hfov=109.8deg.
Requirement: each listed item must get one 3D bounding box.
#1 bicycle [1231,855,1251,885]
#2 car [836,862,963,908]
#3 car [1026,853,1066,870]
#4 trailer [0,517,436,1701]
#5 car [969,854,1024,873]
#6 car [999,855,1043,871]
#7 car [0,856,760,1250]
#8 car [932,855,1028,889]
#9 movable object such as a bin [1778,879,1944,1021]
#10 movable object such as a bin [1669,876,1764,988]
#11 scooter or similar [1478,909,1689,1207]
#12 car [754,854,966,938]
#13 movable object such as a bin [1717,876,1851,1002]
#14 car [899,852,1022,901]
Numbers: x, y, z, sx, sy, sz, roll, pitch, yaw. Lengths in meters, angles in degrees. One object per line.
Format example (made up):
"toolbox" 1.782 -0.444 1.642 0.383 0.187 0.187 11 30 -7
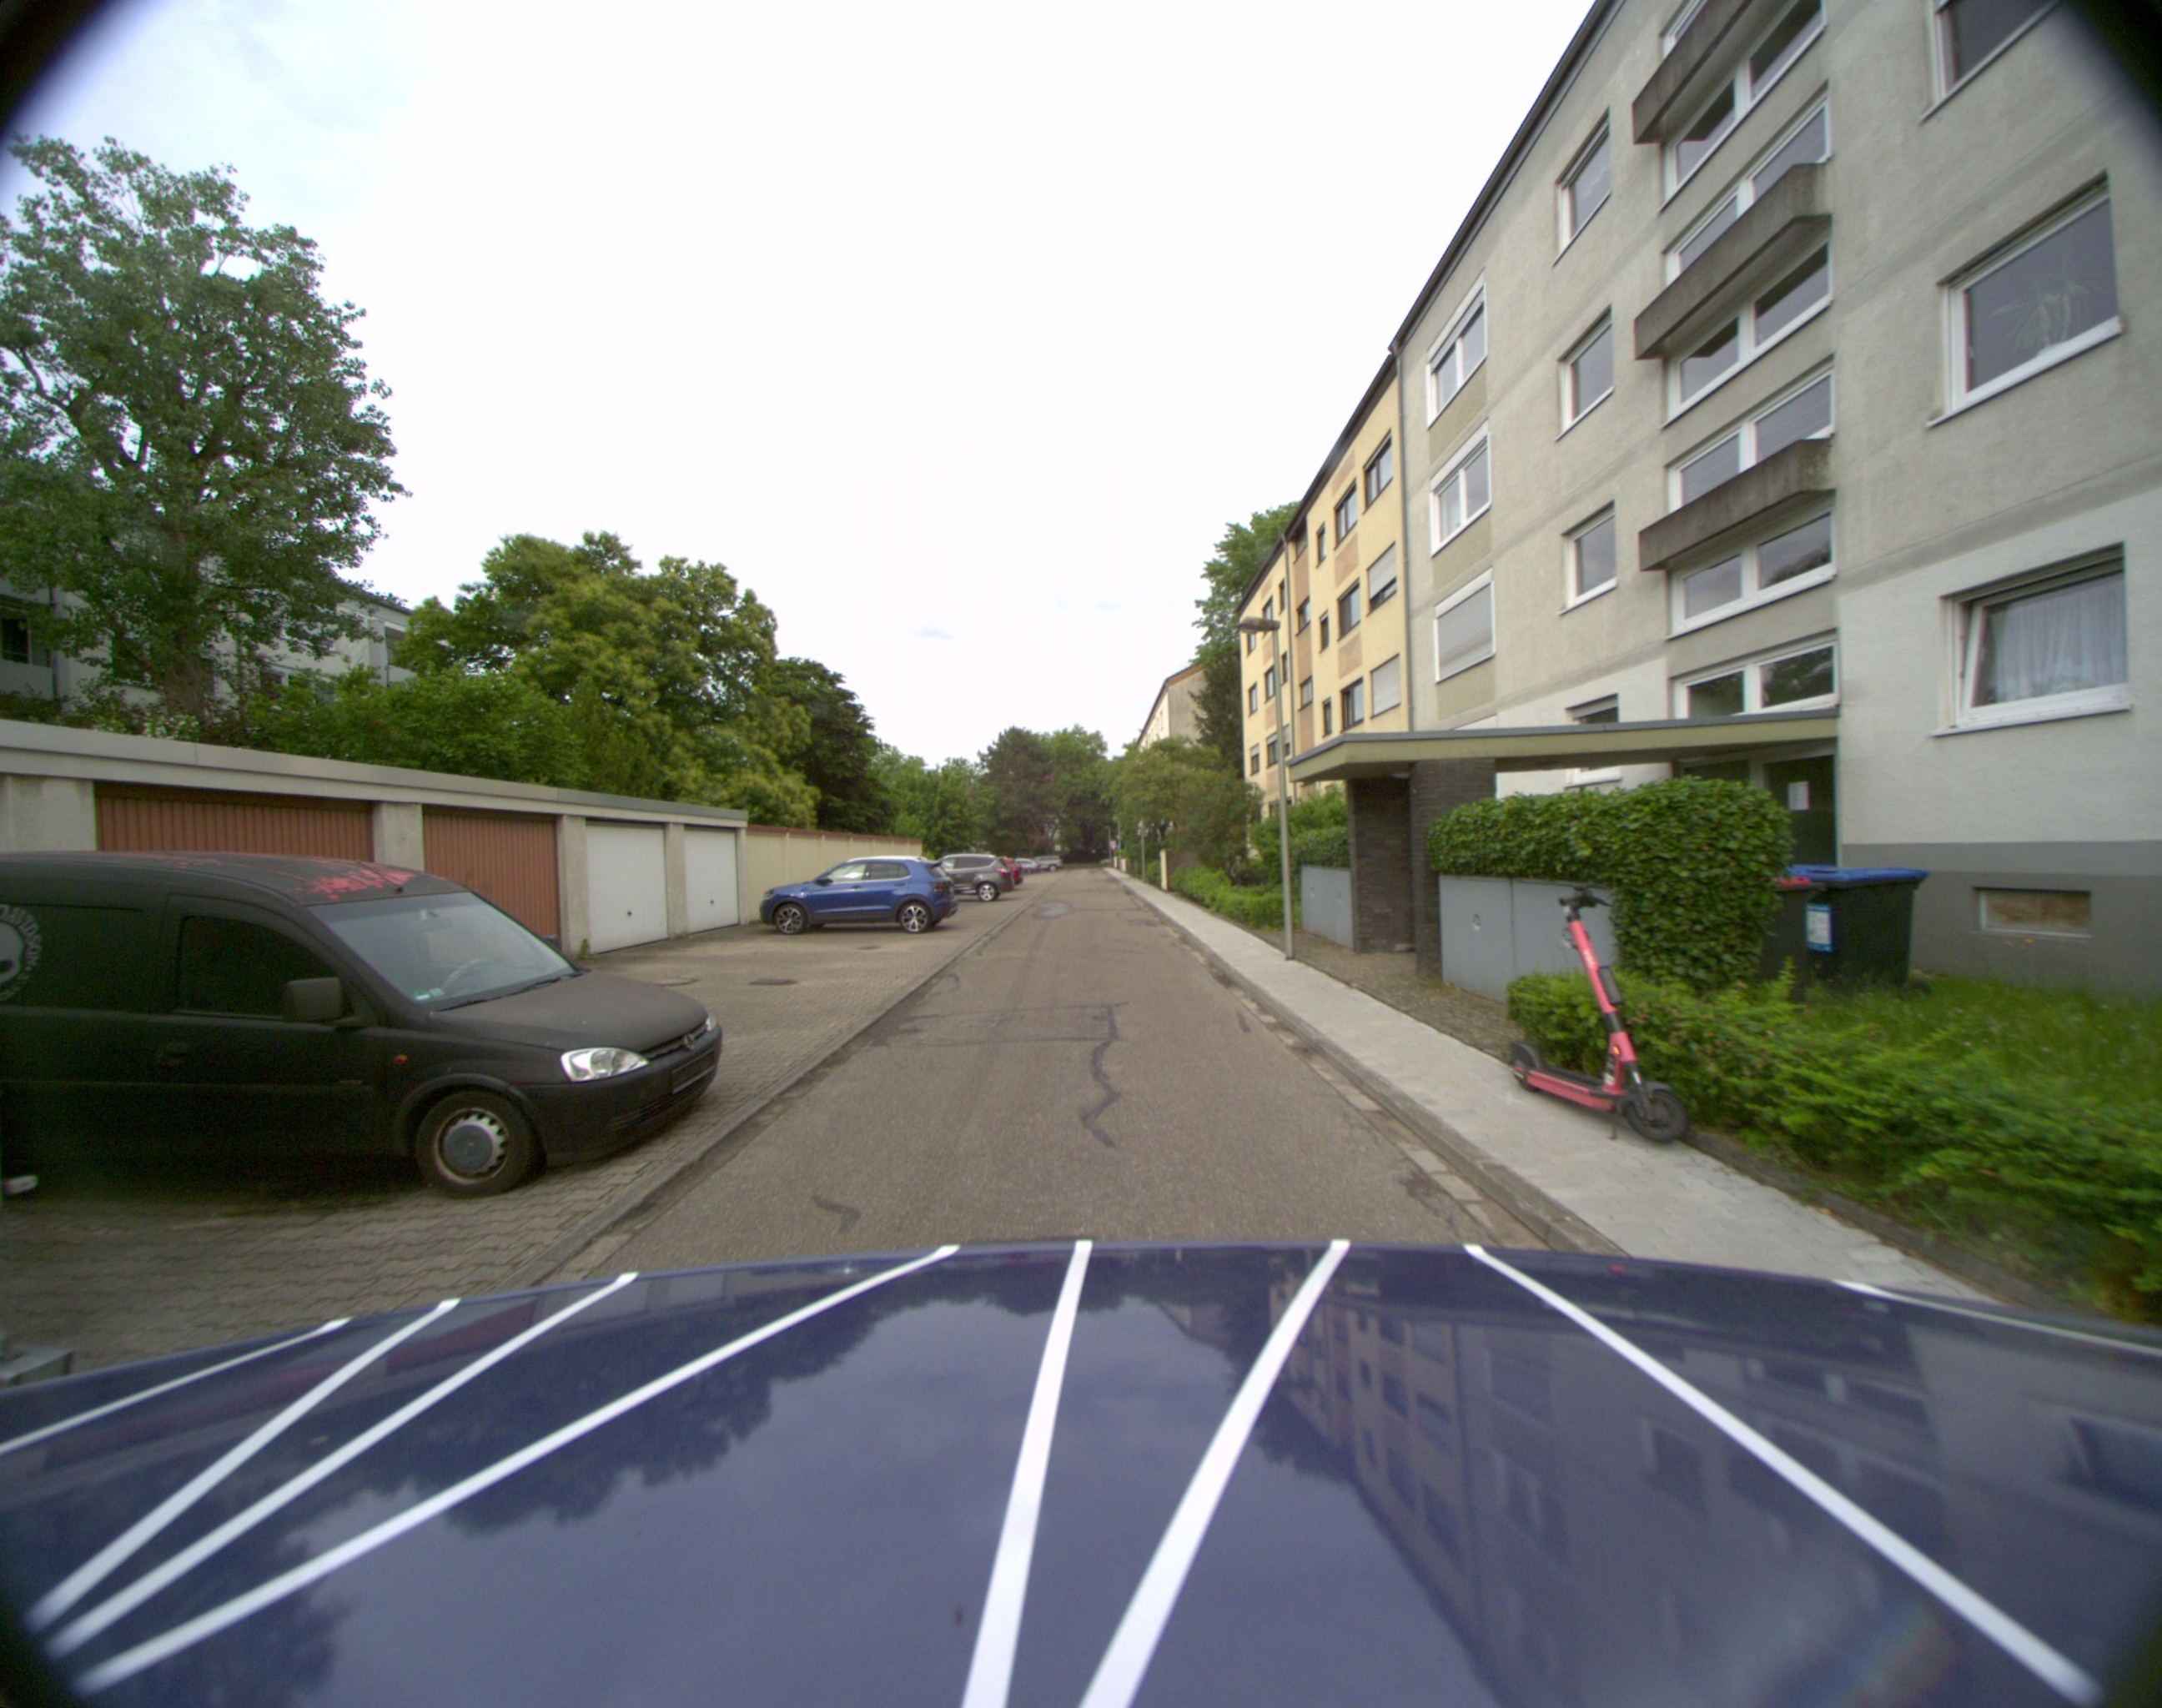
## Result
"bicycle" 5.934 0.600 28.185 0.315 1.045 1.691 -1 -1 -1
"car" -5.987 1.008 25.372 3.766 1.437 2.000 0 0 0
"car" -3.602 0.768 79.182 4.104 1.636 1.787 -2 0 -1
"trailer" -4.618 0.612 1.685 4.621 2.510 1.942 -2 1 1
"car" -6.970 0.777 63.268 4.334 1.476 1.787 1 0 1
"car" -5.790 0.864 74.127 4.104 1.476 1.787 -2 0 -1
"car" -4.479 0.917 4.475 4.321 1.791 2.000 0 0 0
"car" -4.781 0.844 36.417 4.299 1.577 1.935 0 0 -1
"movable object such as a bin" 6.171 0.732 6.047 0.625 1.028 0.665 -2 1 0
"movable object such as a bin" 6.141 0.737 7.367 0.536 1.013 0.581 -2 1 22
"scooter or similar" 2.481 0.927 3.875 0.273 1.204 1.164 -2 0 0
"car" -4.658 0.858 16.492 3.997 1.693 2.000 0 0 0
"movable object such as a bin" 6.171 0.728 6.695 0.625 1.028 0.589 -2 1 0
"car" -4.381 0.814 28.047 4.206 1.717 2.000 0 0 0
